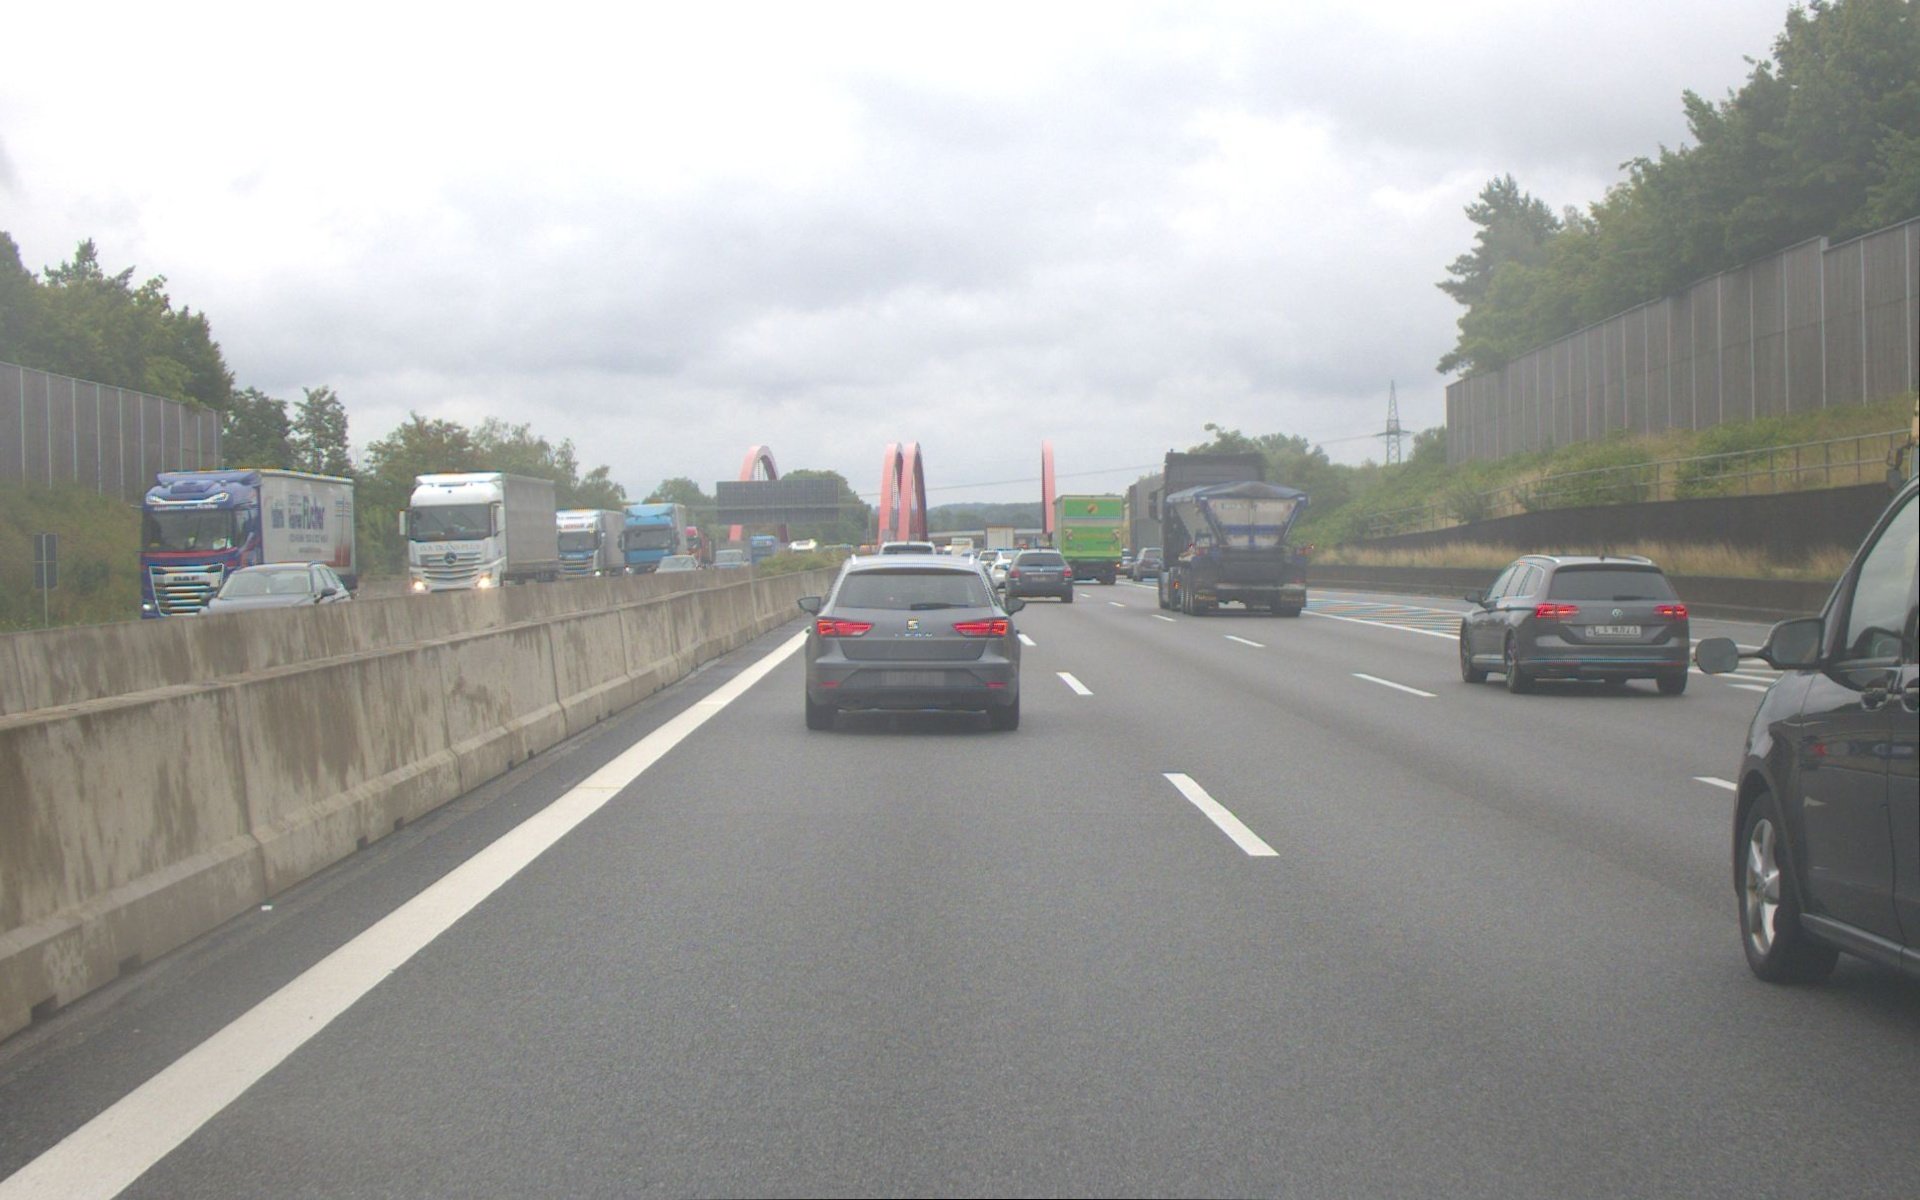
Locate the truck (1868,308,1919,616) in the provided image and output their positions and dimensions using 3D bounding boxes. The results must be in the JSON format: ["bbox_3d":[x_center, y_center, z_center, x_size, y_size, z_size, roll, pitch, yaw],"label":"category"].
[{"bbox_3d":[13.700,-1.725,41.532,2.685,3.944,9.327,1,1,-2],"label":"truck"}]

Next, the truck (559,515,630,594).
[{"bbox_3d":[-18.173,-2.276,171.302,2.888,3.783,5.890,-1,1,0],"label":"truck"}]

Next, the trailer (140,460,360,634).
[{"bbox_3d":[-19.024,-1.397,93.200,3.089,4.310,14.339,-1,1,-1],"label":"trailer"}]

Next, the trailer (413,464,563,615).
[{"bbox_3d":[-14.394,-1.809,105.916,2.779,4.310,14.025,1,1,-1],"label":"trailer"}]

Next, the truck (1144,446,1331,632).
[{"bbox_3d":[6.313,-1.382,80.430,3.089,3.936,12.946,-1,1,-1],"label":"truck"}]

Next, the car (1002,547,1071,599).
[{"bbox_3d":[2.072,-0.751,93.918,1.782,1.401,3.626,0,1,0],"label":"car"}]

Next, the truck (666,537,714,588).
[{"bbox_3d":[-19.982,-2.742,254.560,2.696,3.694,6.480,1,1,3],"label":"truck"}]

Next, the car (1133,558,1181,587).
[{"bbox_3d":[9.432,-1.330,164.876,1.993,1.349,4.000,-1,1,-1],"label":"car"}]

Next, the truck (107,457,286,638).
[{"bbox_3d":[-18.939,-1.292,85.666,3.089,4.310,6.098,-1,1,-1],"label":"truck"}]

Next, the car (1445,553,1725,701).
[{"bbox_3d":[6.594,0.234,36.886,1.939,1.422,5.289,1,1,-1],"label":"car"}]

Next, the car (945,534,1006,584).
[{"bbox_3d":[0.490,-1.404,115.889,1.993,1.656,4.000,0,1,-1],"label":"car"}]

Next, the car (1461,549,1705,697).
[{"bbox_3d":[6.539,0.207,36.527,1.663,1.451,4.471,1,1,-1],"label":"car"}]

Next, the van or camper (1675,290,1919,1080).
[{"bbox_3d":[3.696,0.246,10.140,1.890,2.262,5.680,1,1,-1],"label":"van or camper"}]

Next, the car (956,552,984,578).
[{"bbox_3d":[0.725,-2.553,249.409,1.993,1.809,4.000,0,1,0],"label":"car"}]

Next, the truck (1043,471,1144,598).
[{"bbox_3d":[5.731,-2.802,149.837,3.997,5.248,11.220,1,1,0],"label":"truck"}]

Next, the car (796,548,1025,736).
[{"bbox_3d":[-0.432,0.302,28.593,1.763,1.448,4.000,0,1,-1],"label":"car"}]

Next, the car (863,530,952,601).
[{"bbox_3d":[-1.226,-0.819,80.493,1.993,1.579,4.000,-1,1,-1],"label":"car"}]

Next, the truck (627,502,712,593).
[{"bbox_3d":[-14.365,-2.586,170.837,3.151,4.310,12.680,1,1,0],"label":"truck"}]

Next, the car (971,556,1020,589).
[{"bbox_3d":[1.519,-1.200,147.799,1.993,1.349,4.000,-1,1,-1],"label":"car"}]

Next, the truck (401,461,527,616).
[{"bbox_3d":[-14.314,-1.758,99.582,2.779,4.310,6.098,1,0,-1],"label":"truck"}]

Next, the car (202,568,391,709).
[{"bbox_3d":[-10.178,0.543,53.082,1.993,2.007,4.769,-1,1,0],"label":"car"}]
